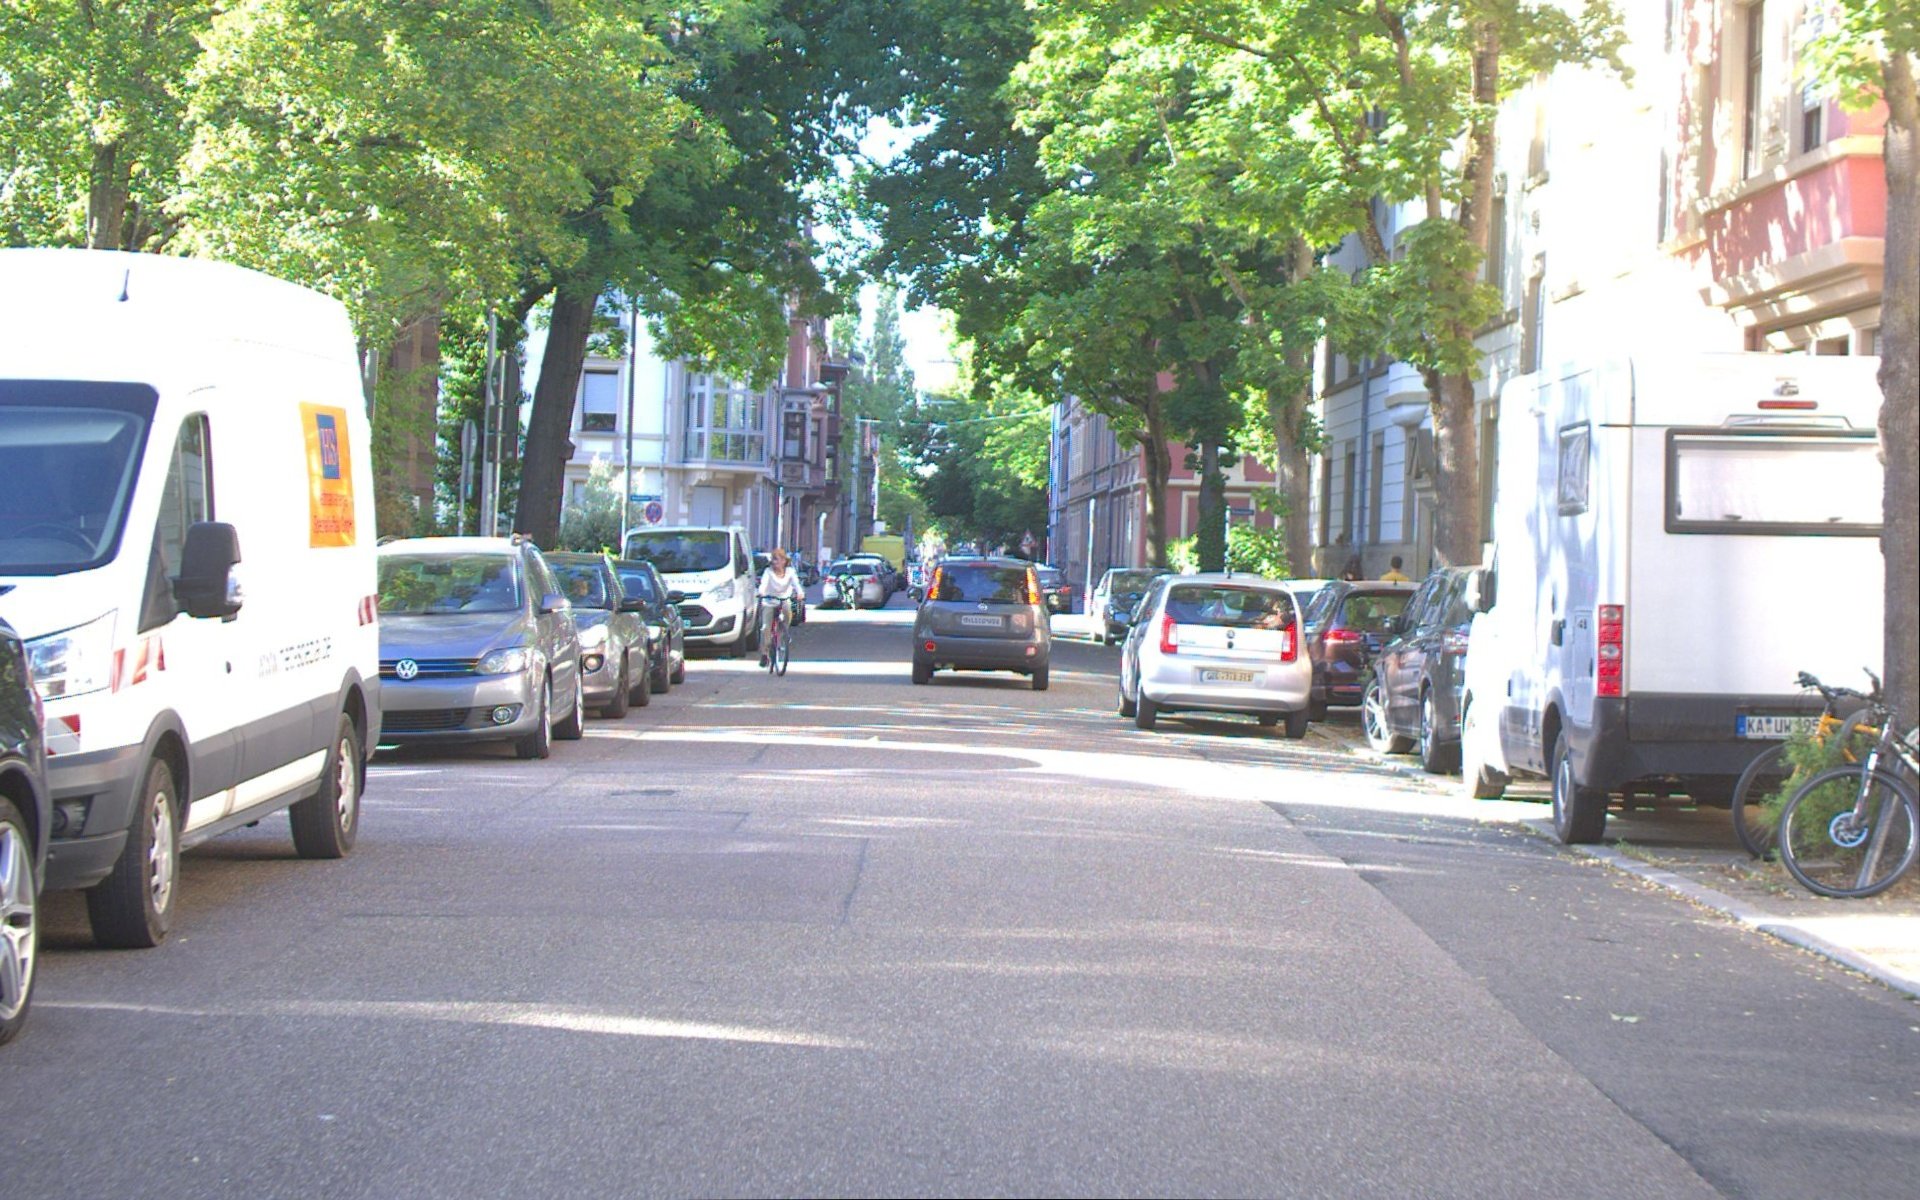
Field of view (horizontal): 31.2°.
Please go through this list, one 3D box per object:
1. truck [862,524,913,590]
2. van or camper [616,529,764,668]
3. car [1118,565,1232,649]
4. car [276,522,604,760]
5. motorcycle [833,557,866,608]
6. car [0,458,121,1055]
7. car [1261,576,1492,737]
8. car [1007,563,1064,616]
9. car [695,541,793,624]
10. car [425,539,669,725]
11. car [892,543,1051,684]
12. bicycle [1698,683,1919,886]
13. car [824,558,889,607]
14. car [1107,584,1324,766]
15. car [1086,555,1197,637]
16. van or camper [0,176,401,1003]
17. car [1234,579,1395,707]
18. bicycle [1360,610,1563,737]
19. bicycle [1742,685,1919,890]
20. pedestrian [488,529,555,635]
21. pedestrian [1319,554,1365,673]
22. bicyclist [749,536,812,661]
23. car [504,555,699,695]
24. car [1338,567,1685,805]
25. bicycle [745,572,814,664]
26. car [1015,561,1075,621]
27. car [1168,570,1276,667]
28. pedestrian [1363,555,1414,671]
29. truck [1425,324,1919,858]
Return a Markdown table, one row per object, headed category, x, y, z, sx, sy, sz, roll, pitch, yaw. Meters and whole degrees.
| category | x | y | z | sx | sy | sz | roll | pitch | yaw |
| --- | --- | --- | --- | --- | --- | --- | --- | --- | --- |
| truck | -3.299 | -1.953 | 157.352 | 2.070 | 2.916 | 5.068 | -1 | 1 | 1 |
| van or camper | -4.049 | -0.052 | 52.282 | 1.921 | 1.973 | 5.462 | -1 | 1 | -1 |
| car | 4.102 | 0.109 | 66.144 | 1.610 | 1.473 | 3.871 | 2 | 1 | -4 |
| car | -3.713 | 0.243 | 25.246 | 1.780 | 1.585 | 4.469 | 0 | 1 | -1 |
| motorcycle | -3.269 | -0.528 | 101.447 | 0.696 | 1.455 | 1.751 | 1 | 1 | -10 |
| car | -3.622 | 0.451 | 8.631 | 1.875 | 1.680 | 4.970 | 0 | 1 | -1 |
| car | 4.398 | 0.556 | 36.926 | 1.786 | 1.508 | 4.460 | 3 | 1 | -1 |
| car | 2.323 | -0.338 | 106.757 | 1.663 | 1.500 | 3.757 | 3 | 1 | 1 |
| car | -4.251 | -0.359 | 68.103 | 1.824 | 1.548 | 4.134 | -1 | 1 | -3 |
| car | -3.703 | 0.241 | 31.452 | 1.676 | 1.567 | 4.151 | -1 | 1 | 1 |
| car | 0.102 | 0.125 | 40.937 | 1.632 | 1.545 | 3.265 | 2 | 1 | -4 |
| bicycle | 4.906 | 0.989 | 18.358 | 1.702 | 0.996 | 0.707 | 3 | 1 | -6 |
| car | -3.144 | -0.543 | 104.744 | 1.797 | 1.427 | 3.925 | -1 | 1 | 1 |
| car | 2.439 | 0.683 | 33.609 | 1.679 | 1.539 | 3.800 | 3 | 1 | -1 |
| car | 3.743 | -0.103 | 71.638 | 1.789 | 1.545 | 4.410 | 3 | 1 | -3 |
| van or camper | -3.862 | -0.078 | 14.395 | 2.128 | 2.759 | 5.852 | 0 | 1 | 0 |
| car | 4.403 | 0.504 | 43.148 | 1.596 | 1.483 | 3.748 | 1 | 1 | 0 |
| bicycle | 4.697 | 0.686 | 32.277 | 1.811 | 1.163 | 0.569 | 0 | 1 | -1 |
| bicycle | 4.856 | 0.946 | 17.044 | 1.785 | 0.945 | 0.579 | 3 | 1 | 2 |
| pedestrian | -6.710 | -0.280 | 52.588 | 0.881 | 1.572 | 0.529 | 3 | 0 | 1 |
| pedestrian | 5.696 | 0.191 | 51.248 | 0.520 | 1.729 | 0.878 | 3 | 1 | 1 |
| bicyclist | -2.221 | -0.021 | 42.584 | 0.651 | 1.503 | 0.624 | 3 | 1 | 2 |
| car | -3.865 | 0.225 | 37.752 | 1.713 | 1.390 | 4.780 | -1 | 1 | -1 |
| car | 4.452 | 0.628 | 28.523 | 1.885 | 1.710 | 4.945 | 2 | 1 | -2 |
| bicycle | -2.229 | 0.210 | 42.586 | 0.665 | 1.073 | 1.685 | 3 | 1 | 2 |
| car | 2.507 | -0.287 | 102.262 | 1.663 | 1.663 | 3.757 | 3 | 1 | 1 |
| car | 4.391 | 0.289 | 57.981 | 1.520 | 1.505 | 3.543 | 2 | 1 | 0 |
| pedestrian | 6.368 | 0.188 | 51.105 | 0.595 | 1.696 | 0.689 | 3 | 1 | 1 |
| truck | 4.496 | -0.098 | 22.103 | 2.073 | 2.958 | 6.109 | 0 | 1 | -1 |
